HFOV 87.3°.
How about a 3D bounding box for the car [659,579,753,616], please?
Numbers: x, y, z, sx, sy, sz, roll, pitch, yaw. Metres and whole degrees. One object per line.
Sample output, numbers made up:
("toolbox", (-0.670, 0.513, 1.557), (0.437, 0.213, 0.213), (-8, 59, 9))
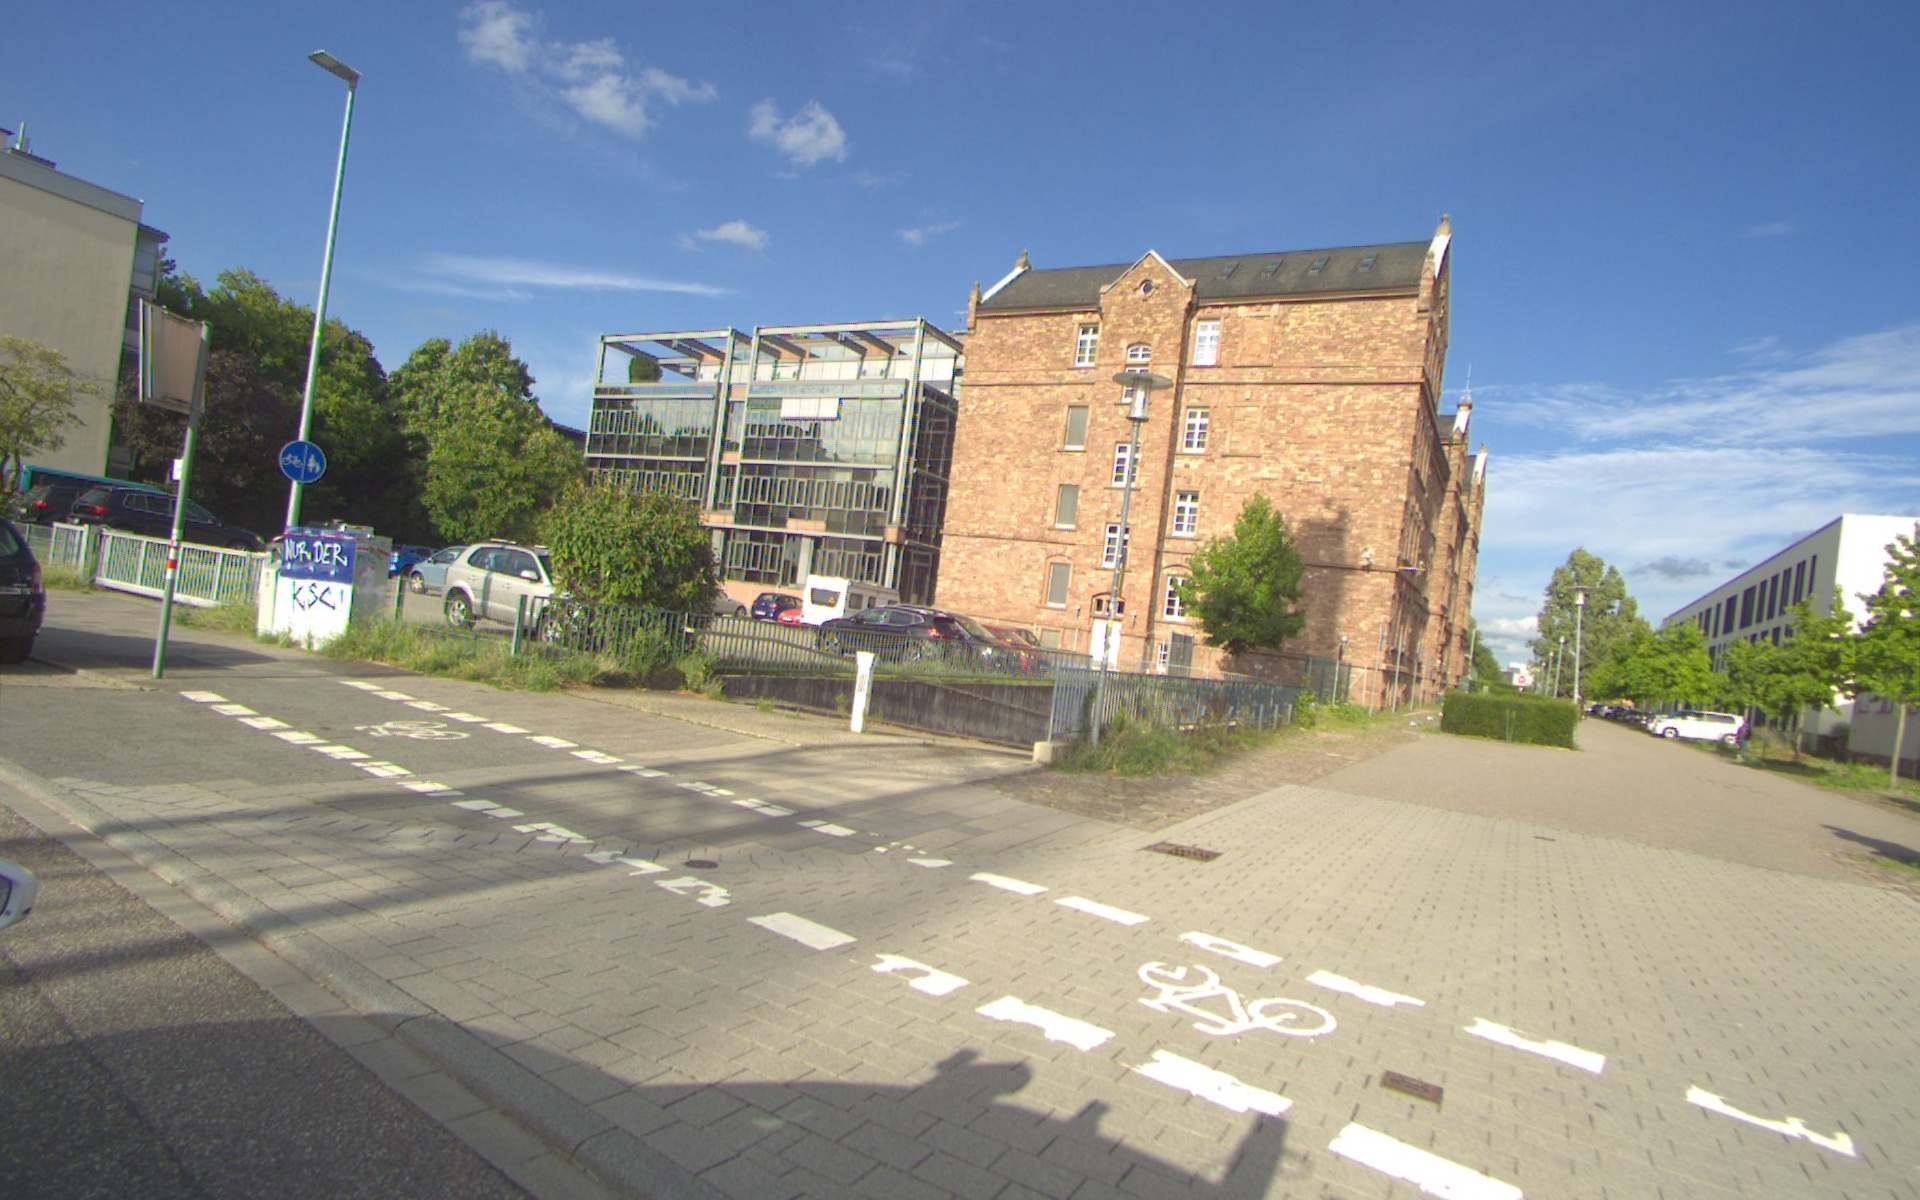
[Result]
("car", (-12.626, -0.088, 50.172), (1.782, 1.397, 4.317), (7, 0, 37))

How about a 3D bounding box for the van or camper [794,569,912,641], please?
("van or camper", (-4.688, 0.283, 44.944), (2.550, 2.587, 5.251), (7, -1, 27))

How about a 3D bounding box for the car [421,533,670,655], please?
("car", (-7.584, -0.116, 18.347), (4.081, 1.686, 1.997), (7, 0, 30))

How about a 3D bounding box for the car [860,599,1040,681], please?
("car", (-0.297, 1.132, 29.015), (4.716, 1.765, 1.855), (6, 0, 24))

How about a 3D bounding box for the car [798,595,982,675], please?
("car", (-1.894, 0.921, 26.852), (4.529, 1.609, 1.853), (6, 0, 30))

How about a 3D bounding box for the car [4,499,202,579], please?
("car", (-25.355, -1.771, 29.890), (1.967, 1.759, 3.992), (7, -1, 32))

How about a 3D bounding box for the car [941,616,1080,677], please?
("car", (1.595, 1.457, 31.644), (3.887, 1.281, 1.714), (8, 1, 24))

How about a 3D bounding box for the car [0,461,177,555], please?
("car", (-27.243, -2.811, 31.208), (1.967, 2.212, 4.124), (7, -1, 32))

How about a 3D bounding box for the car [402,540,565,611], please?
("car", (-13.268, -0.682, 28.001), (3.929, 1.459, 1.998), (7, 0, 26))

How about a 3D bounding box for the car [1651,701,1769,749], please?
("car", (45.379, 7.562, 61.068), (5.396, 2.036, 1.998), (6, -2, 32))

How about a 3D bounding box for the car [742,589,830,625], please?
("car", (-8.295, 0.382, 48.366), (1.778, 1.372, 4.326), (7, 0, 28))

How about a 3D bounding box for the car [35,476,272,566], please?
("car", (-21.364, -2.049, 26.836), (1.967, 1.641, 4.454), (7, -1, 32))

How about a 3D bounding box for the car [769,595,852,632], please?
("car", (-6.863, 0.633, 46.614), (1.633, 1.303, 3.996), (7, -1, 28))

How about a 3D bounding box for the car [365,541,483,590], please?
("car", (-23.217, -1.474, 43.687), (1.965, 1.571, 3.996), (7, -1, 28))

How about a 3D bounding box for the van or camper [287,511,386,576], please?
("van or camper", (-33.846, -3.096, 54.618), (5.036, 2.909, 2.332), (6, 0, 31))

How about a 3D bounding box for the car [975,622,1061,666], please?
("car", (2.493, 1.879, 42.421), (1.966, 1.459, 3.995), (7, -1, 29))

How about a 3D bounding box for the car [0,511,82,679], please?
("car", (-10.661, -0.258, 9.870), (4.196, 1.514, 1.721), (6, -1, 30))

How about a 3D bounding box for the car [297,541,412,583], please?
("car", (-27.778, -1.710, 46.284), (1.965, 1.345, 3.996), (7, -1, 27))
